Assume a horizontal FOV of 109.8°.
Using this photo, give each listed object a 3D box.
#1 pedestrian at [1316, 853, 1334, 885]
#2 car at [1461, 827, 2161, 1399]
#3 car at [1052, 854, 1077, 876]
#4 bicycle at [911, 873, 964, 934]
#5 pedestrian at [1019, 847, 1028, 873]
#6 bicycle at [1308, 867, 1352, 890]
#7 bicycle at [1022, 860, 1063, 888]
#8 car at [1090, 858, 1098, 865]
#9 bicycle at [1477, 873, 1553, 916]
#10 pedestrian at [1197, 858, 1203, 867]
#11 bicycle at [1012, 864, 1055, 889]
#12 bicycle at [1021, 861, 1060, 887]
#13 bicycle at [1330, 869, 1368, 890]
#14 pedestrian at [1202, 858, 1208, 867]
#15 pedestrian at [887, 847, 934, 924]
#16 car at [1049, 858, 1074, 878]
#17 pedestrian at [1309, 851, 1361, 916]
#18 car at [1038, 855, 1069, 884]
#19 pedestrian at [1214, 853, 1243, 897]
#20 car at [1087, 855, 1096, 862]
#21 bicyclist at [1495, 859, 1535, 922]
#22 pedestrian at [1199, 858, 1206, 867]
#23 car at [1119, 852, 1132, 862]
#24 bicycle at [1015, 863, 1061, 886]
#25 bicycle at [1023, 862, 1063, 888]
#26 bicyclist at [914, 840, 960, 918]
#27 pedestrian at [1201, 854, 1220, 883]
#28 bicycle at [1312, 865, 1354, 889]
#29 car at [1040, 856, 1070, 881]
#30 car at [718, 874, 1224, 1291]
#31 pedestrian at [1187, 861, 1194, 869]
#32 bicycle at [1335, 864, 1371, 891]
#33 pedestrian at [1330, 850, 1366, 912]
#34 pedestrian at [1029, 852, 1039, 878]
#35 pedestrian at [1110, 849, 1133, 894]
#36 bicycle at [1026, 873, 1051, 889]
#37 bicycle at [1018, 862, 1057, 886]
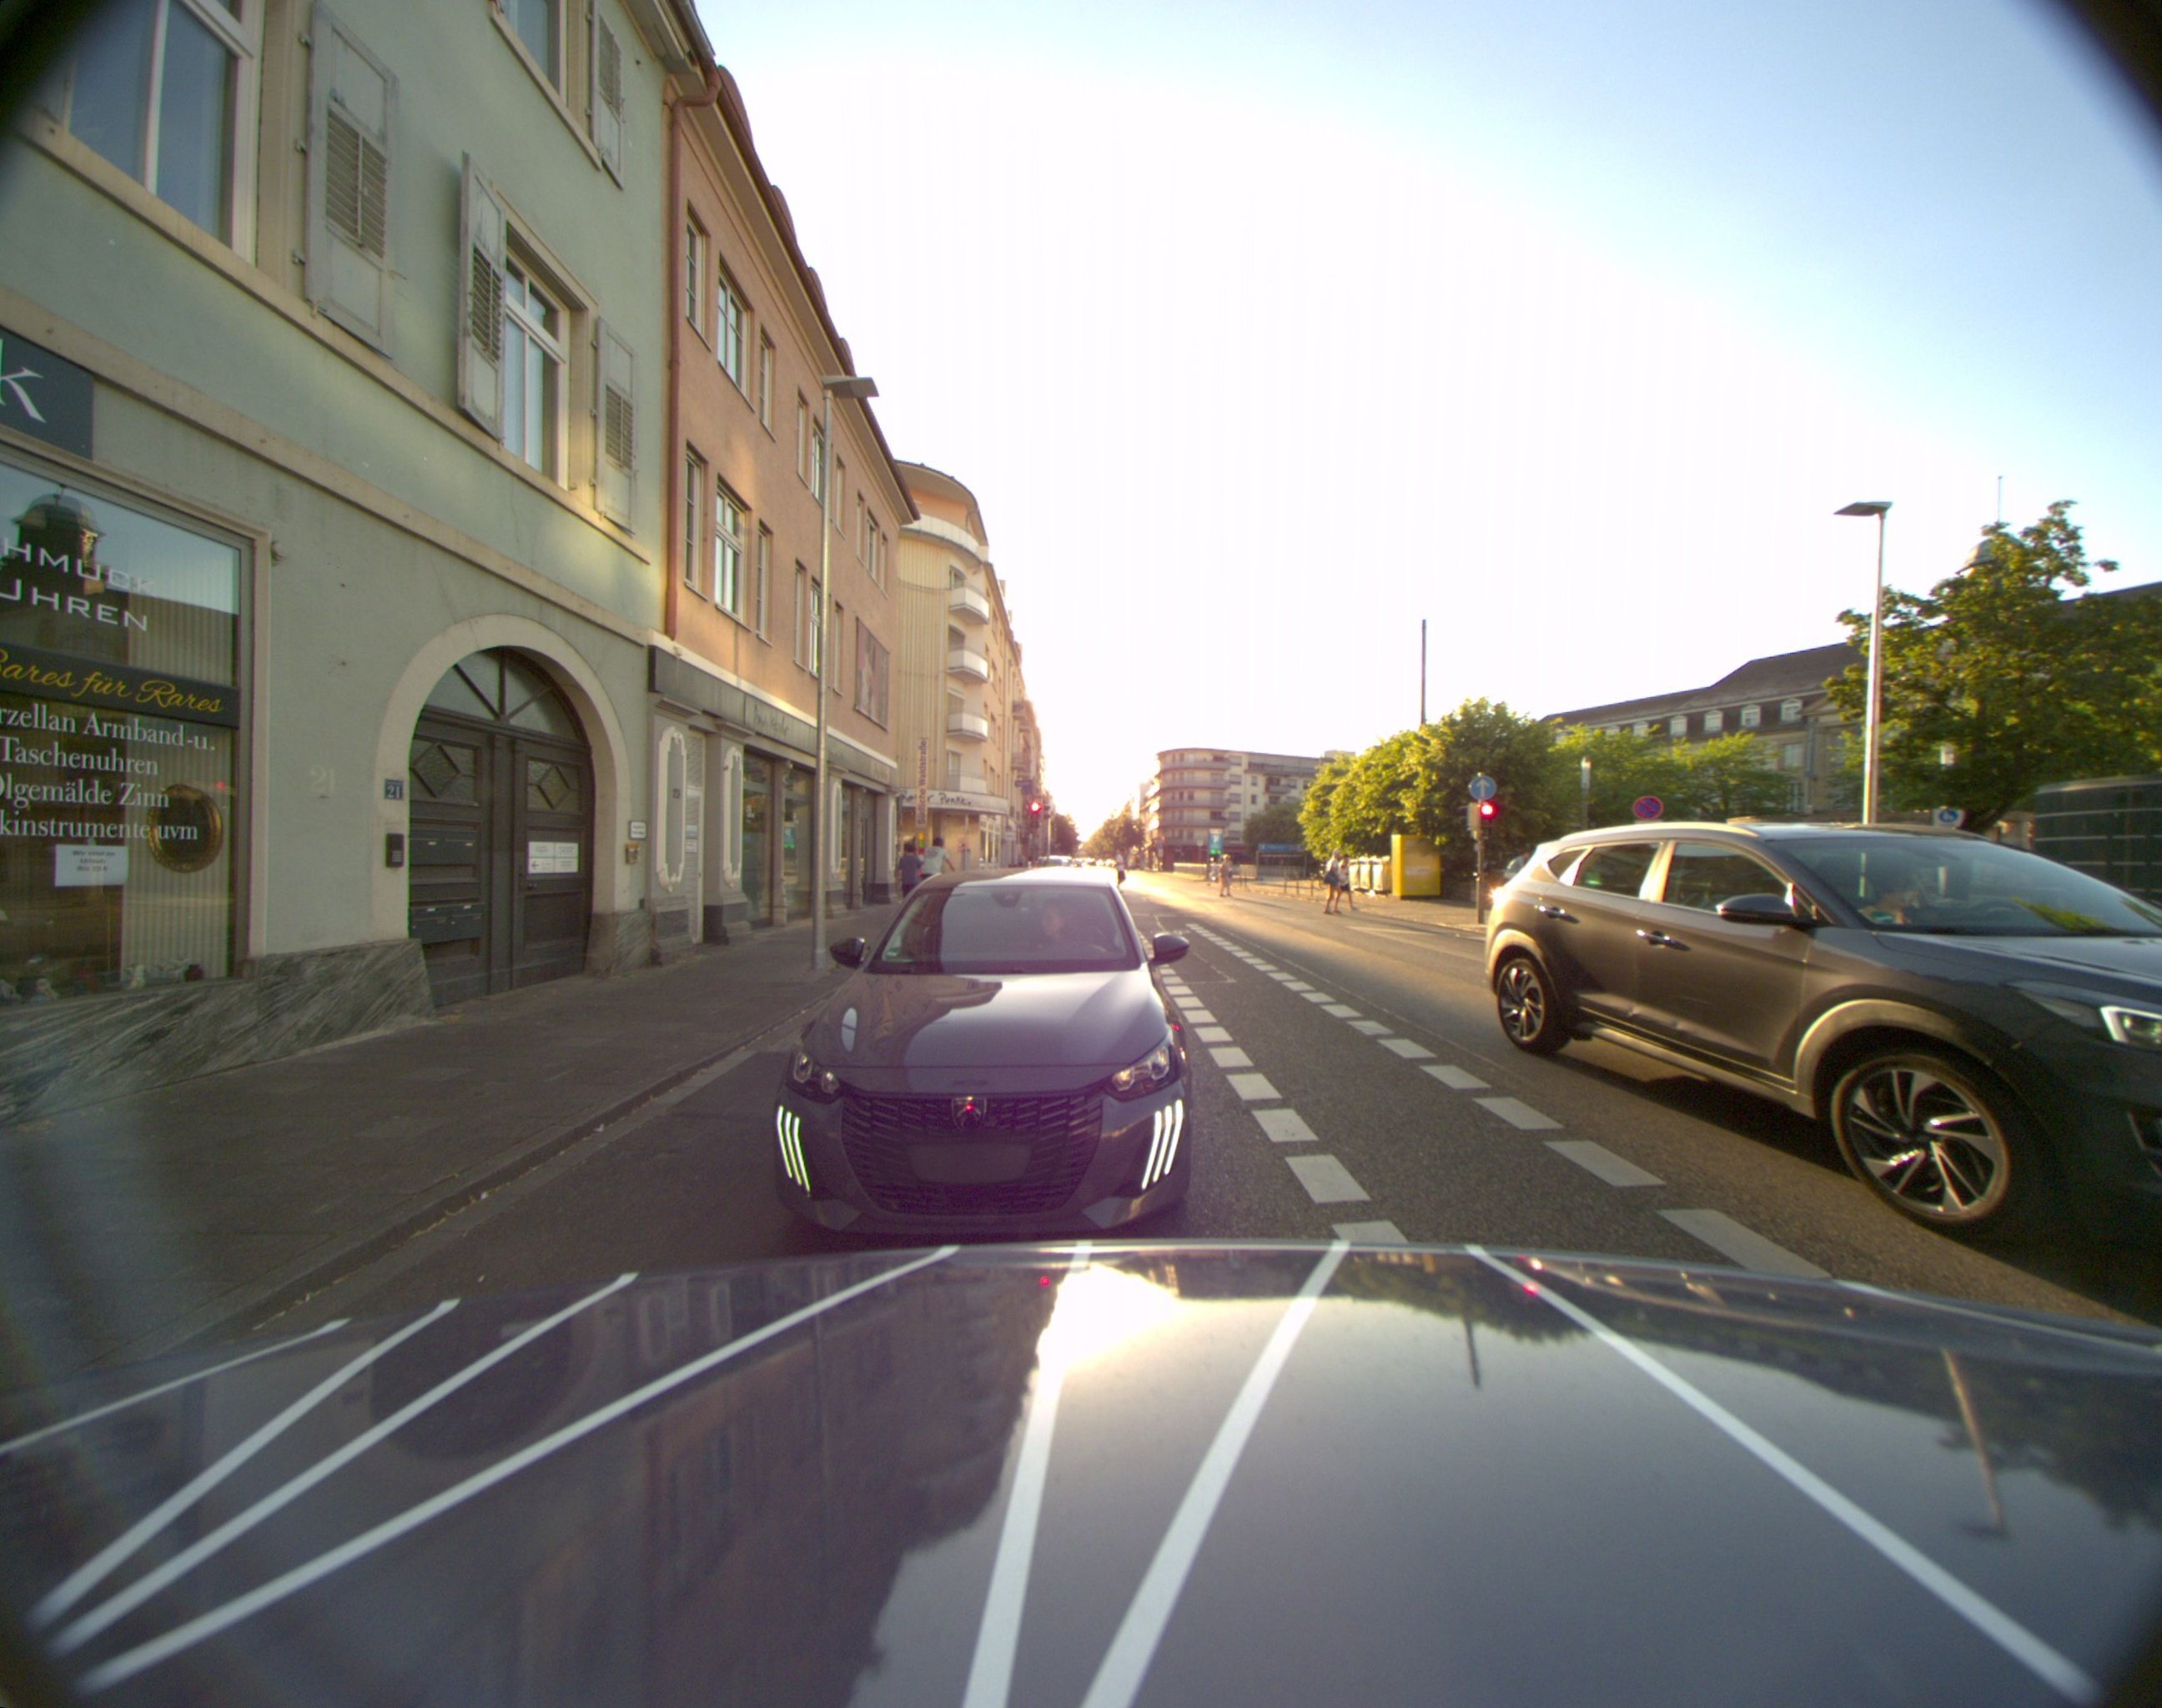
[{"bbox_3d":[14.147,0.876,44.046,0.870,1.806,0.826,1,0,9],"label":"pedestrian"},{"bbox_3d":[4.121,0.795,4.082,1.877,1.679,4.449,2,0,0],"label":"car"},{"bbox_3d":[-1.295,0.875,62.233,1.877,1.664,4.430,0,0,0],"label":"car"},{"bbox_3d":[-2.859,0.958,15.268,0.692,1.100,1.896,1,0,0],"label":"bicycle"},{"bbox_3d":[-4.484,0.432,59.200,0.673,2.002,0.851,0,1,0],"label":"pedestrian"},{"bbox_3d":[12.465,1.213,38.050,2.031,1.128,0.548,-1,0,-4],"label":"bicycle"},{"bbox_3d":[-1.803,0.926,35.117,1.849,1.232,0.639,1,0,-5],"label":"bicycle"},{"bbox_3d":[3.162,1.843,187.593,1.790,1.458,3.956,2,0,-1],"label":"car"},{"bbox_3d":[12.878,1.175,22.576,1.820,1.179,0.795,1,0,41],"label":"bicycle"},{"bbox_3d":[17.441,1.205,111.406,0.732,1.314,0.889,0,0,-1],"label":"pedestrian"},{"bbox_3d":[-2.134,1.004,34.179,1.788,1.057,0.718,2,0,-11],"label":"bicycle"},{"bbox_3d":[-1.941,0.962,36.496,1.788,1.166,0.622,2,0,-11],"label":"bicycle"},{"bbox_3d":[13.115,1.239,37.252,1.678,0.973,0.548,-1,0,-4],"label":"bicycle"},{"bbox_3d":[18.188,1.299,111.366,0.732,1.314,0.888,0,0,-2],"label":"pedestrian"},{"bbox_3d":[-3.725,0.666,16.652,0.825,1.632,0.871,1,0,-2],"label":"pedestrian"},{"bbox_3d":[-1.405,1.018,56.588,1.738,1.448,4.610,0,0,1],"label":"car"},{"bbox_3d":[7.072,0.797,21.165,1.100,1.764,0.825,1,0,-6],"label":"pedestrian"},{"bbox_3d":[-1.626,0.881,44.681,1.702,1.607,4.682,0,0,-2],"label":"car"},{"bbox_3d":[5.742,0.810,29.610,0.789,1.643,0.782,1,1,43],"label":"pedestrian"},{"bbox_3d":[2.872,1.161,203.851,1.878,1.621,4.177,3,-1,-5],"label":"car"},{"bbox_3d":[12.876,1.063,22.556,0.833,1.815,0.833,1,0,44],"label":"bicyclist"},{"bbox_3d":[17.858,1.311,111.598,0.689,1.314,0.819,0,0,-24],"label":"pedestrian"},{"bbox_3d":[7.947,0.520,135.559,1.999,1.805,3.999,1,1,-2],"label":"car"},{"bbox_3d":[-2.120,1.011,37.448,2.176,1.069,0.805,2,0,-7],"label":"bicycle"},{"bbox_3d":[-1.805,0.974,35.864,1.788,1.166,0.622,2,0,-11],"label":"bicycle"},{"bbox_3d":[-2.855,0.487,15.180,0.724,1.499,0.900,1,0,1],"label":"bicyclist"},{"bbox_3d":[8.089,0.899,47.410,0.950,1.806,0.827,1,0,28],"label":"pedestrian"},{"bbox_3d":[13.159,1.193,39.683,2.031,1.245,0.548,-1,0,-4],"label":"bicycle"},{"bbox_3d":[-1.735,0.925,51.059,1.821,1.611,4.203,0,0,0],"label":"car"},{"bbox_3d":[-0.473,0.919,5.117,1.908,1.438,4.448,0,0,-2],"label":"car"},{"bbox_3d":[15.828,1.574,109.835,0.887,1.185,0.733,0,0,9],"label":"pedestrian"},{"bbox_3d":[13.201,1.133,36.853,1.590,1.245,0.445,-1,0,-2],"label":"bicycle"},{"bbox_3d":[8.295,0.823,23.635,0.939,1.886,0.827,1,0,12],"label":"pedestrian"},{"bbox_3d":[-3.671,0.851,59.255,0.763,2.002,0.851,0,0,0],"label":"pedestrian"},{"bbox_3d":[1.672,0.690,31.171,0.870,1.806,0.826,1,0,5],"label":"pedestrian"},{"bbox_3d":[-1.884,1.169,33.380,1.008,0.677,1.049,1,0,-9],"label":"bicycle"},{"bbox_3d":[-2.214,0.999,38.447,1.851,1.117,0.594,2,1,-11],"label":"bicycle"}]
